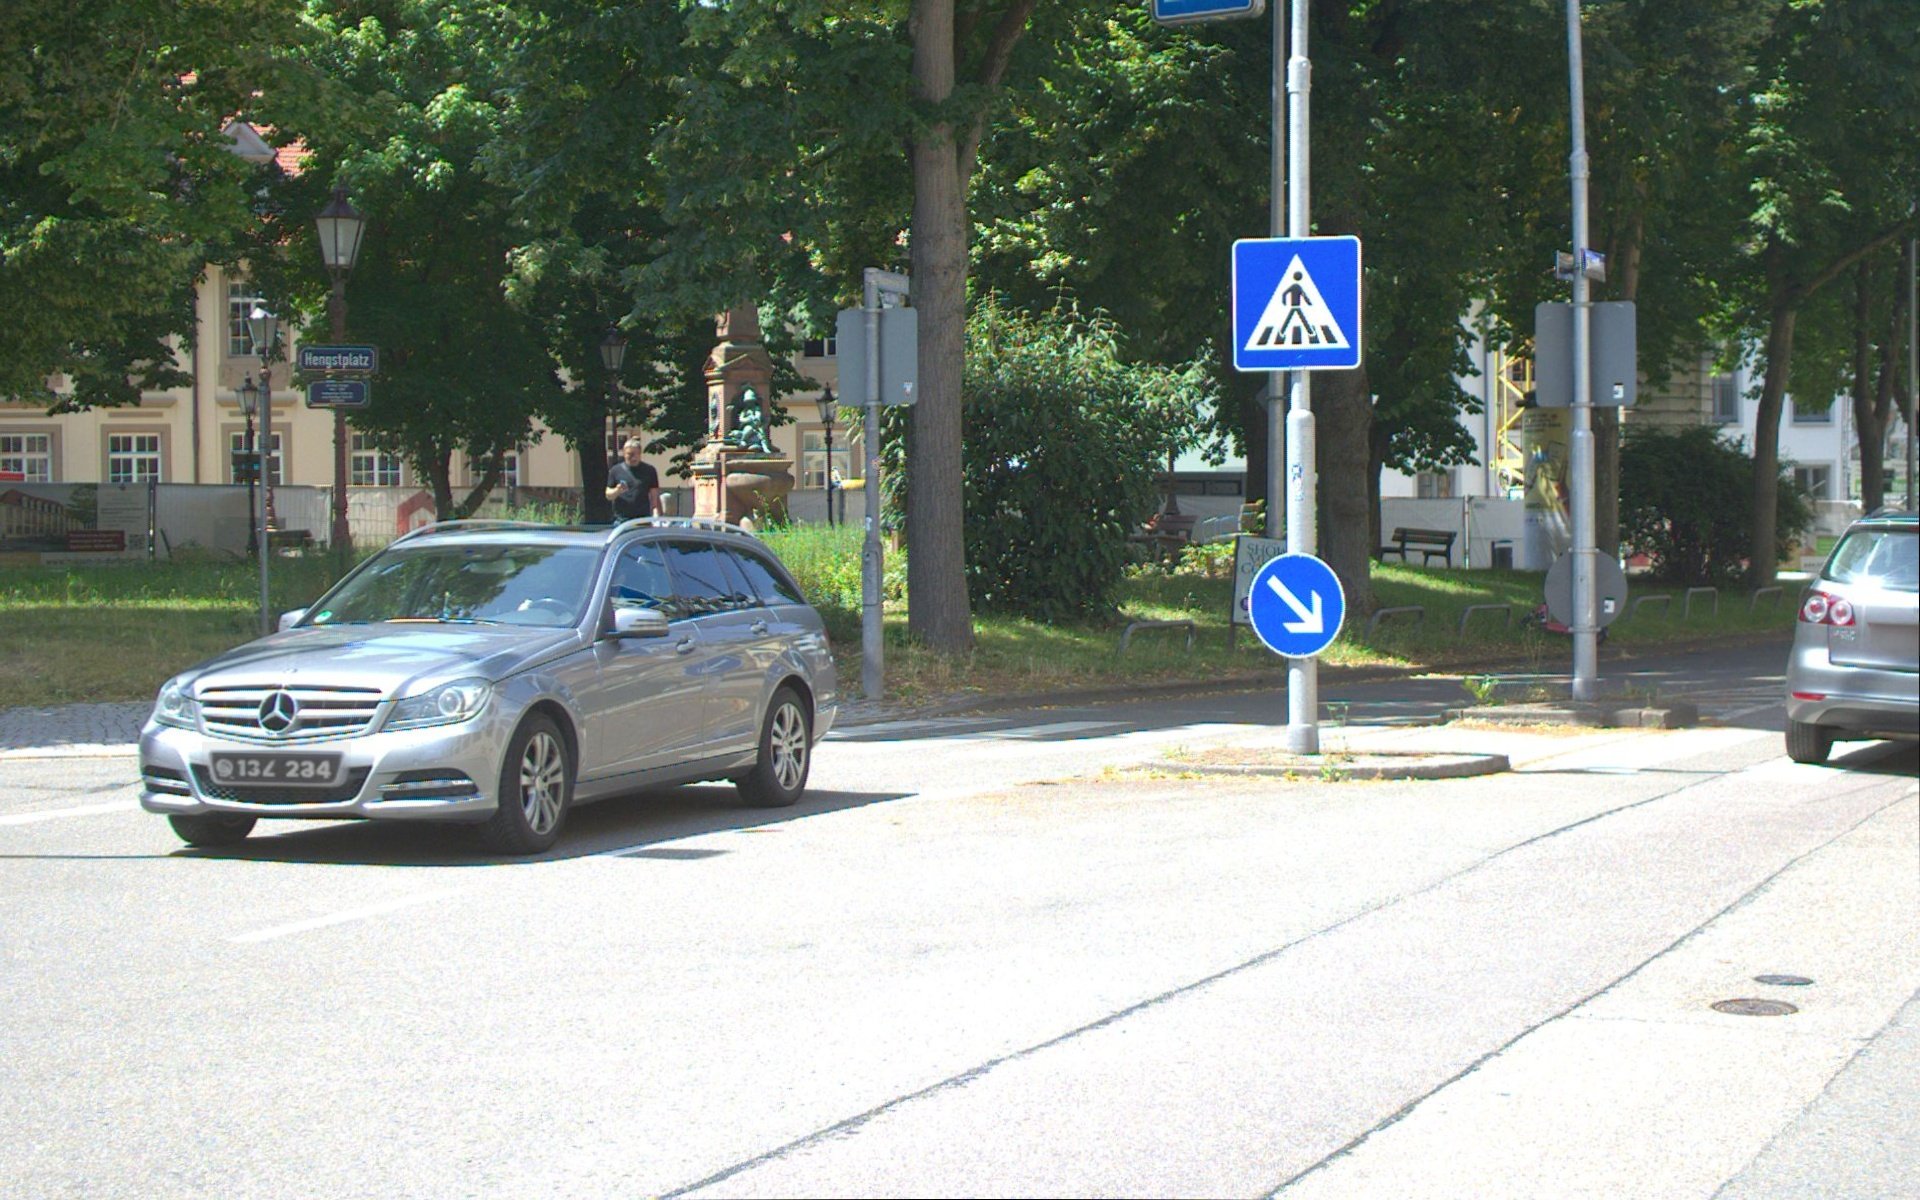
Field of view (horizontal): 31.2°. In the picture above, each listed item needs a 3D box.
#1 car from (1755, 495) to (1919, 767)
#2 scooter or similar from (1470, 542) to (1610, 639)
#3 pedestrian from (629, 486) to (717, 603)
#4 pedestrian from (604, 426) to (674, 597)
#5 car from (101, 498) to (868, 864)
[{"bbox_3d":[6.455,0.175,21.773,1.906,1.528,4.238,3,2,24],"label":"car"},{"bbox_3d":[7.104,-0.128,42.038,1.274,0.988,1.450,10,5,22],"label":"scooter or similar"},{"bbox_3d":[-3.145,-0.619,37.756,0.906,1.247,1.148,0,3,-2],"label":"pedestrian"},{"bbox_3d":[-3.605,-1.003,38.636,0.747,1.904,0.684,0,3,-2],"label":"pedestrian"},{"bbox_3d":[-2.071,0.270,16.376,1.739,1.483,4.404,1,2,20],"label":"car"}]
